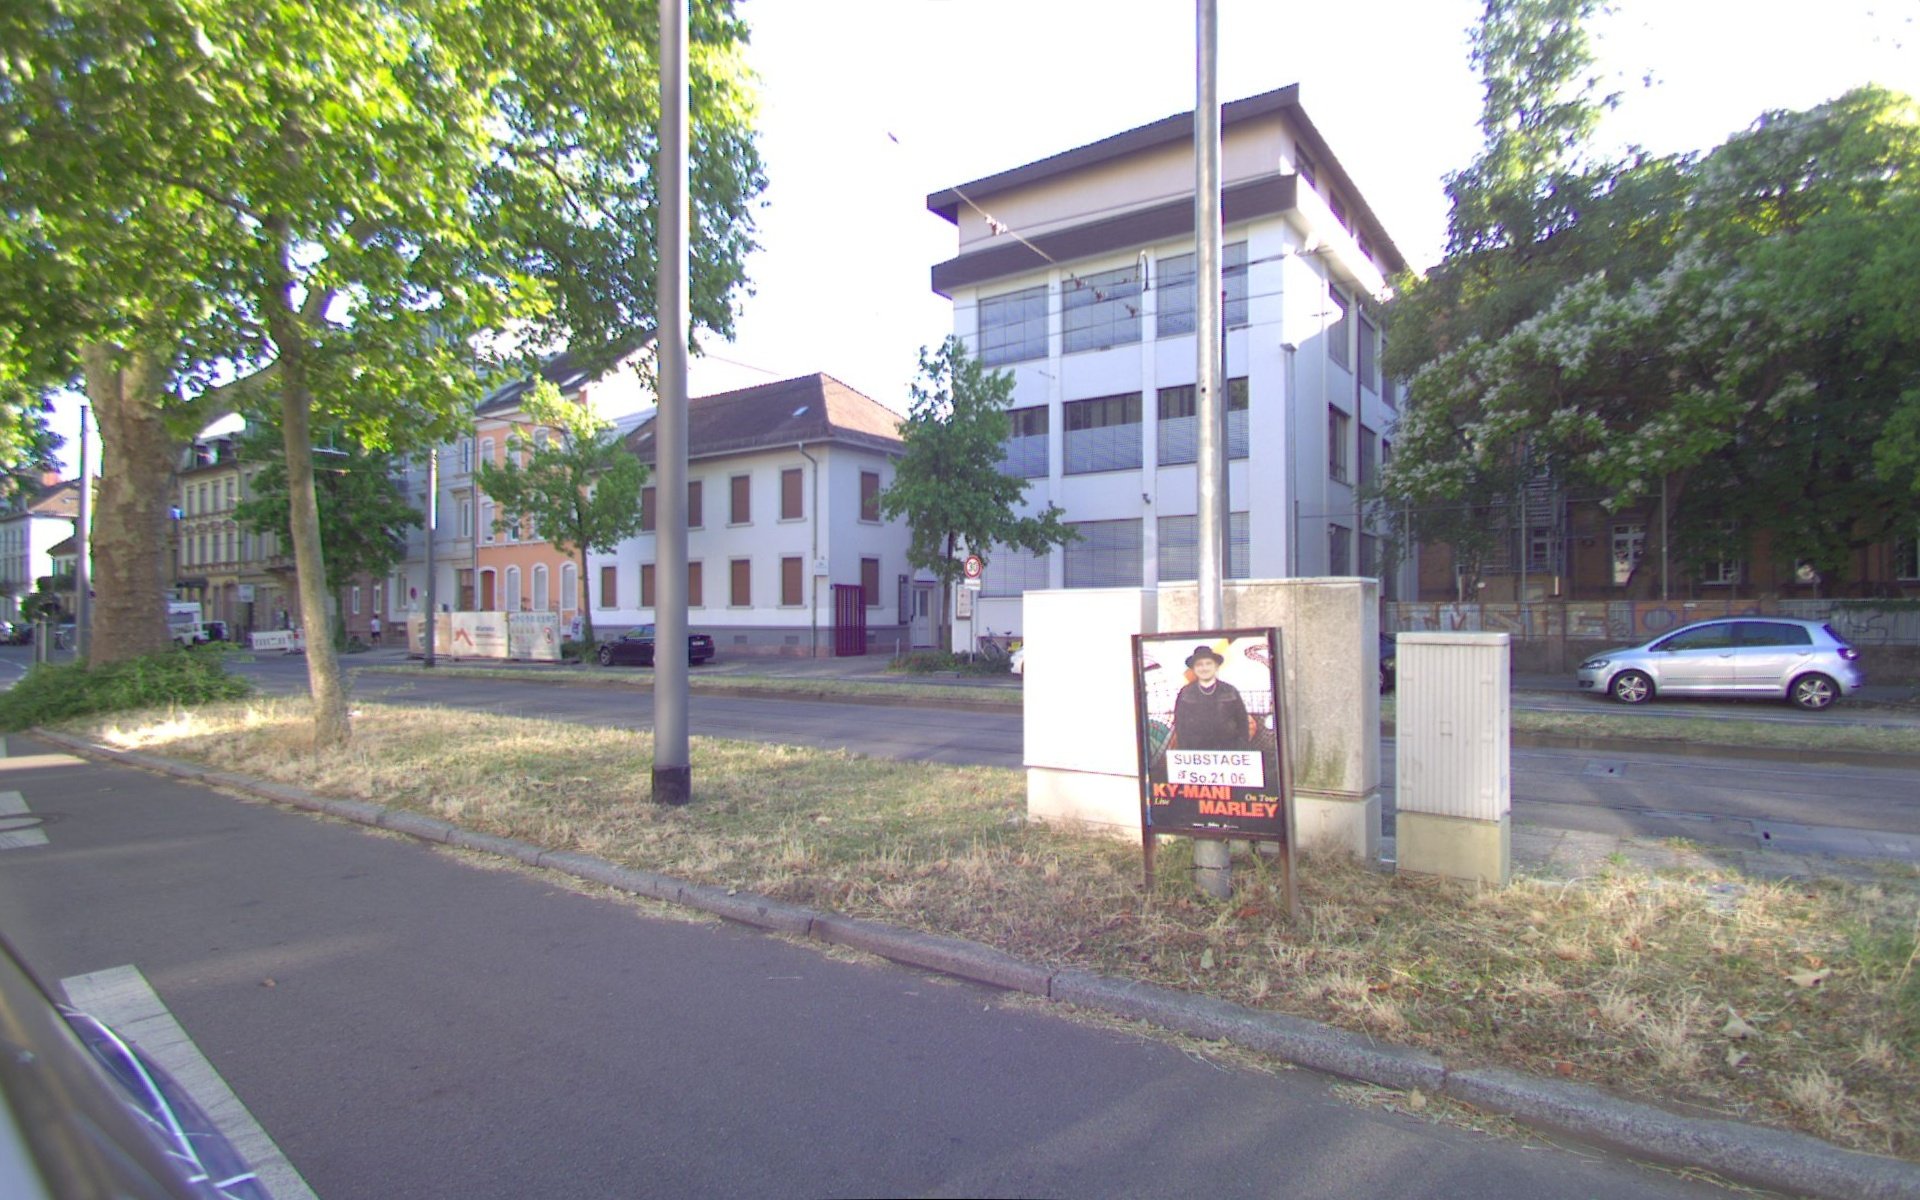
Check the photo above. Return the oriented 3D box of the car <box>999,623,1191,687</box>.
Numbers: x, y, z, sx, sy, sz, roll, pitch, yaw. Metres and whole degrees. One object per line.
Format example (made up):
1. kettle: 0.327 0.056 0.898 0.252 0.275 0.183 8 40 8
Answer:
1. car: 3.346 1.324 25.434 4.394 1.482 1.977 -1 -2 34

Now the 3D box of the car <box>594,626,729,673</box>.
1. car: -10.318 1.658 34.808 4.714 1.525 1.976 -1 -2 35

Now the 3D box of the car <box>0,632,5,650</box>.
1. car: -81.127 3.434 84.230 4.460 1.502 1.569 -1 0 35

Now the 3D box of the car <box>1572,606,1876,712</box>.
1. car: 13.588 1.008 18.350 4.167 1.702 1.977 -1 -2 34

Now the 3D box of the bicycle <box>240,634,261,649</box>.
1. bicycle: -44.753 2.631 63.834 1.789 0.931 0.573 -2 -2 38

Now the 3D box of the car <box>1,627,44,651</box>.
1. car: -72.982 3.032 78.778 3.618 1.759 1.709 -1 1 36

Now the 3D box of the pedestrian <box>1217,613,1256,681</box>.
1. pedestrian: 6.796 1.145 24.858 0.730 1.633 0.630 -1 -1 34

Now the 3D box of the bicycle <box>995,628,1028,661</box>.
1. bicycle: 1.618 1.387 31.794 1.016 1.010 0.300 -1 -2 35

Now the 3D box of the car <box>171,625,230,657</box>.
1. car: -43.800 2.368 58.363 3.361 1.718 1.618 -1 1 33

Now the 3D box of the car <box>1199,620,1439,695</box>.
1. car: 7.849 1.206 22.295 4.637 1.487 1.977 -1 -2 34

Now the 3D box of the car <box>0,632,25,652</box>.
1. car: -76.707 3.366 81.104 4.394 1.465 1.649 -1 1 35

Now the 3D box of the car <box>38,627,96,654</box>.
1. car: -63.249 2.879 71.638 4.739 1.715 1.977 -1 2 35

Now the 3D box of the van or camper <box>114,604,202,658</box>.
1. van or camper: -49.063 1.871 61.827 7.238 2.969 2.397 -1 2 37

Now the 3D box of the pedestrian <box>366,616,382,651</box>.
1. pedestrian: -31.609 1.802 54.580 0.480 1.832 0.592 -1 -2 36

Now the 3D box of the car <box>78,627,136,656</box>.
1. car: -56.835 2.738 67.395 4.432 1.718 1.795 -1 2 35
